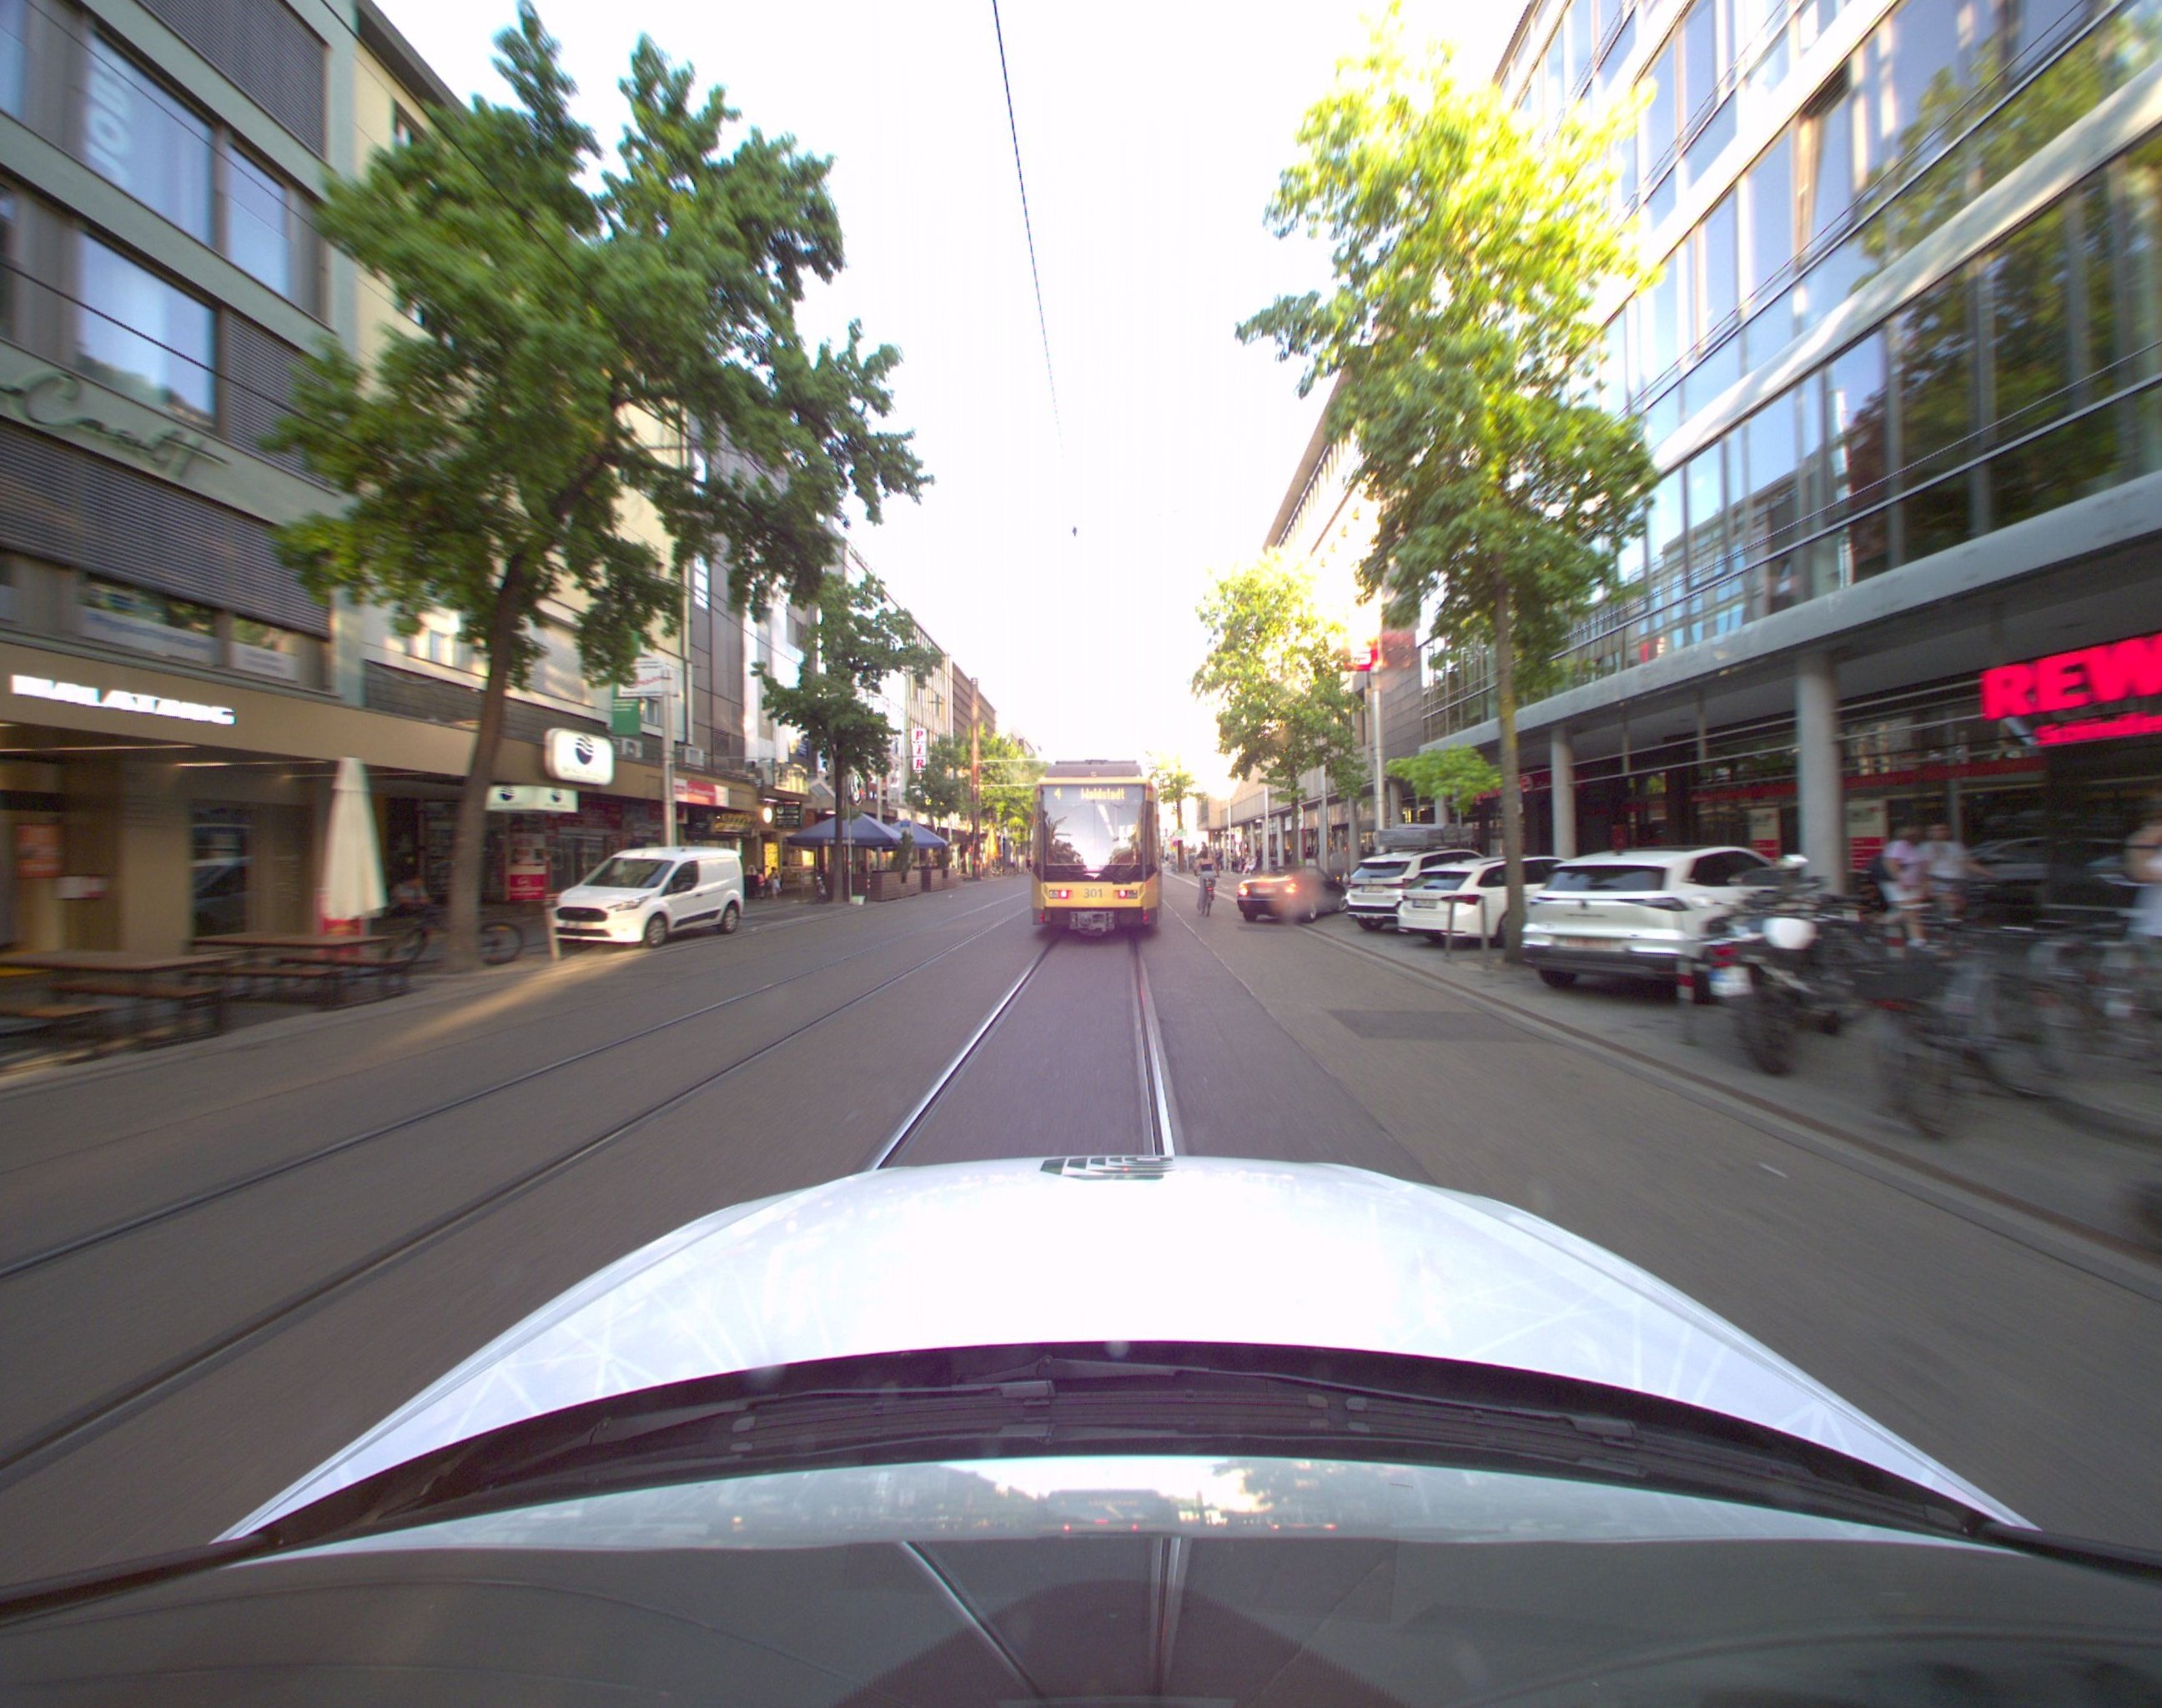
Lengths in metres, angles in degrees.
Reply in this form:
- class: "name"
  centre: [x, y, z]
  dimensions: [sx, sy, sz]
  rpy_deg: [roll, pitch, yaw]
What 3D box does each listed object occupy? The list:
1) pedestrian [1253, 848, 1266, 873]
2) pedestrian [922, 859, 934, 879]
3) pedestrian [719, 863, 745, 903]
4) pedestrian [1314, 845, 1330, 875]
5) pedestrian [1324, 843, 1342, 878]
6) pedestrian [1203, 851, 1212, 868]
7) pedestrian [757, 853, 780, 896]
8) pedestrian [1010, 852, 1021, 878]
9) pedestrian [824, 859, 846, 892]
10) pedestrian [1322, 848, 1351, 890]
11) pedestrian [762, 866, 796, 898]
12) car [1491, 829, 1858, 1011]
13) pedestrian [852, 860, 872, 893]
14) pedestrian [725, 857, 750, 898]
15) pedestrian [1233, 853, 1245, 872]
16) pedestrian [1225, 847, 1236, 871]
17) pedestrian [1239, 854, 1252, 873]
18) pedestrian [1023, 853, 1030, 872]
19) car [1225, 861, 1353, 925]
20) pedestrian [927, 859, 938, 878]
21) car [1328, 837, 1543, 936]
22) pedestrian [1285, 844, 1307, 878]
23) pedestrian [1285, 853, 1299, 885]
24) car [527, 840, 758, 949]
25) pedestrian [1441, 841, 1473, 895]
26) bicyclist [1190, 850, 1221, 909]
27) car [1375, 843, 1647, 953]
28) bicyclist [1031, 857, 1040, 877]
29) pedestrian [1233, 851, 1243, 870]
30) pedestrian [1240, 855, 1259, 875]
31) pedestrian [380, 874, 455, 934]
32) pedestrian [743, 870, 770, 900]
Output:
- class: "pedestrian"
  centre: [12.071, 0.443, 55.174]
  dimensions: [0.698, 1.637, 0.646]
  rpy_deg: [-3, 1, 3]
- class: "pedestrian"
  centre: [-10.232, 0.982, 54.527]
  dimensions: [0.571, 1.319, 0.726]
  rpy_deg: [1, -1, 3]
- class: "pedestrian"
  centre: [-11.303, 0.918, 26.368]
  dimensions: [0.520, 1.256, 0.587]
  rpy_deg: [2, -1, 3]
- class: "pedestrian"
  centre: [13.349, 0.335, 45.042]
  dimensions: [0.594, 1.616, 0.830]
  rpy_deg: [-3, 1, 3]
- class: "pedestrian"
  centre: [11.901, 0.309, 38.481]
  dimensions: [0.594, 1.616, 0.756]
  rpy_deg: [-3, 1, 3]
- class: "pedestrian"
  centre: [12.760, 0.522, 82.017]
  dimensions: [0.698, 1.684, 0.681]
  rpy_deg: [-3, 1, 3]
- class: "pedestrian"
  centre: [-12.050, 0.789, 31.430]
  dimensions: [0.601, 1.597, 0.561]
  rpy_deg: [1, -1, 4]
- class: "pedestrian"
  centre: [-4.816, 0.820, 59.937]
  dimensions: [0.749, 1.880, 0.575]
  rpy_deg: [2, -1, -2]
- class: "pedestrian"
  centre: [-9.554, 0.816, 31.581]
  dimensions: [0.601, 1.256, 0.561]
  rpy_deg: [2, -1, 4]
- class: "pedestrian"
  centre: [9.801, 0.563, 31.247]
  dimensions: [0.874, 1.581, 0.756]
  rpy_deg: [0, 1, 2]
- class: "pedestrian"
  centre: [-10.899, 1.006, 29.382]
  dimensions: [0.816, 1.120, 0.781]
  rpy_deg: [2, -1, 12]
- class: "car"
  centre: [7.080, 0.623, 9.624]
  dimensions: [4.358, 1.563, 1.859]
  rpy_deg: [-4, 0, -30]
- class: "pedestrian"
  centre: [-8.805, 0.899, 32.751]
  dimensions: [0.556, 1.256, 0.606]
  rpy_deg: [2, -1, 3]
- class: "pedestrian"
  centre: [-11.750, 0.804, 27.852]
  dimensions: [0.440, 1.373, 0.608]
  rpy_deg: [2, -1, 12]
- class: "pedestrian"
  centre: [12.047, 0.643, 62.212]
  dimensions: [0.736, 1.328, 0.721]
  rpy_deg: [-3, 1, 3]
- class: "pedestrian"
  centre: [11.383, 0.386, 61.995]
  dimensions: [0.745, 1.782, 0.892]
  rpy_deg: [0, -1, 6]
- class: "pedestrian"
  centre: [12.213, 0.702, 60.397]
  dimensions: [0.802, 1.328, 0.626]
  rpy_deg: [-3, 1, 3]
- class: "pedestrian"
  centre: [-4.946, 0.800, 73.421]
  dimensions: [0.549, 1.687, 0.575]
  rpy_deg: [2, -1, -2]
- class: "car"
  centre: [5.377, 0.906, 20.637]
  dimensions: [1.784, 1.348, 4.474]
  rpy_deg: [-1, 0, 33]
- class: "pedestrian"
  centre: [-10.163, 0.996, 55.808]
  dimensions: [0.571, 1.319, 0.726]
  rpy_deg: [1, -1, 3]
- class: "car"
  centre: [7.397, 0.610, 16.933]
  dimensions: [4.220, 1.637, 1.903]
  rpy_deg: [-4, 0, -30]
- class: "pedestrian"
  centre: [12.636, 0.406, 47.886]
  dimensions: [1.049, 1.876, 0.930]
  rpy_deg: [-3, 1, 3]
- class: "pedestrian"
  centre: [12.433, 0.897, 48.044]
  dimensions: [0.594, 1.839, 0.830]
  rpy_deg: [-3, 1, 3]
- class: "car"
  centre: [-8.355, 0.716, 16.091]
  dimensions: [1.786, 1.818, 4.521]
  rpy_deg: [1, -1, 4]
- class: "pedestrian"
  centre: [11.617, 0.431, 25.193]
  dimensions: [0.594, 1.616, 0.756]
  rpy_deg: [-3, 1, 2]
- class: "bicyclist"
  centre: [3.291, 0.658, 21.597]
  dimensions: [0.724, 1.527, 0.734]
  rpy_deg: [1, -1, 2]
- class: "car"
  centre: [7.485, 0.697, 14.211]
  dimensions: [4.187, 1.457, 1.851]
  rpy_deg: [-4, 0, -21]
- class: "bicyclist"
  centre: [-3.213, 0.913, 57.928]
  dimensions: [0.618, 1.416, 0.700]
  rpy_deg: [0, -1, 0]
- class: "pedestrian"
  centre: [13.930, 0.586, 72.211]
  dimensions: [0.698, 1.684, 0.681]
  rpy_deg: [-3, 1, 3]
- class: "pedestrian"
  centre: [11.718, 0.779, 56.640]
  dimensions: [1.107, 1.328, 0.927]
  rpy_deg: [-3, 0, 3]
- class: "pedestrian"
  centre: [-12.887, 0.955, 15.839]
  dimensions: [0.774, 1.095, 0.730]
  rpy_deg: [2, -1, 2]
- class: "pedestrian"
  centre: [-11.215, 1.066, 28.152]
  dimensions: [0.448, 1.029, 0.666]
  rpy_deg: [2, -1, 32]
